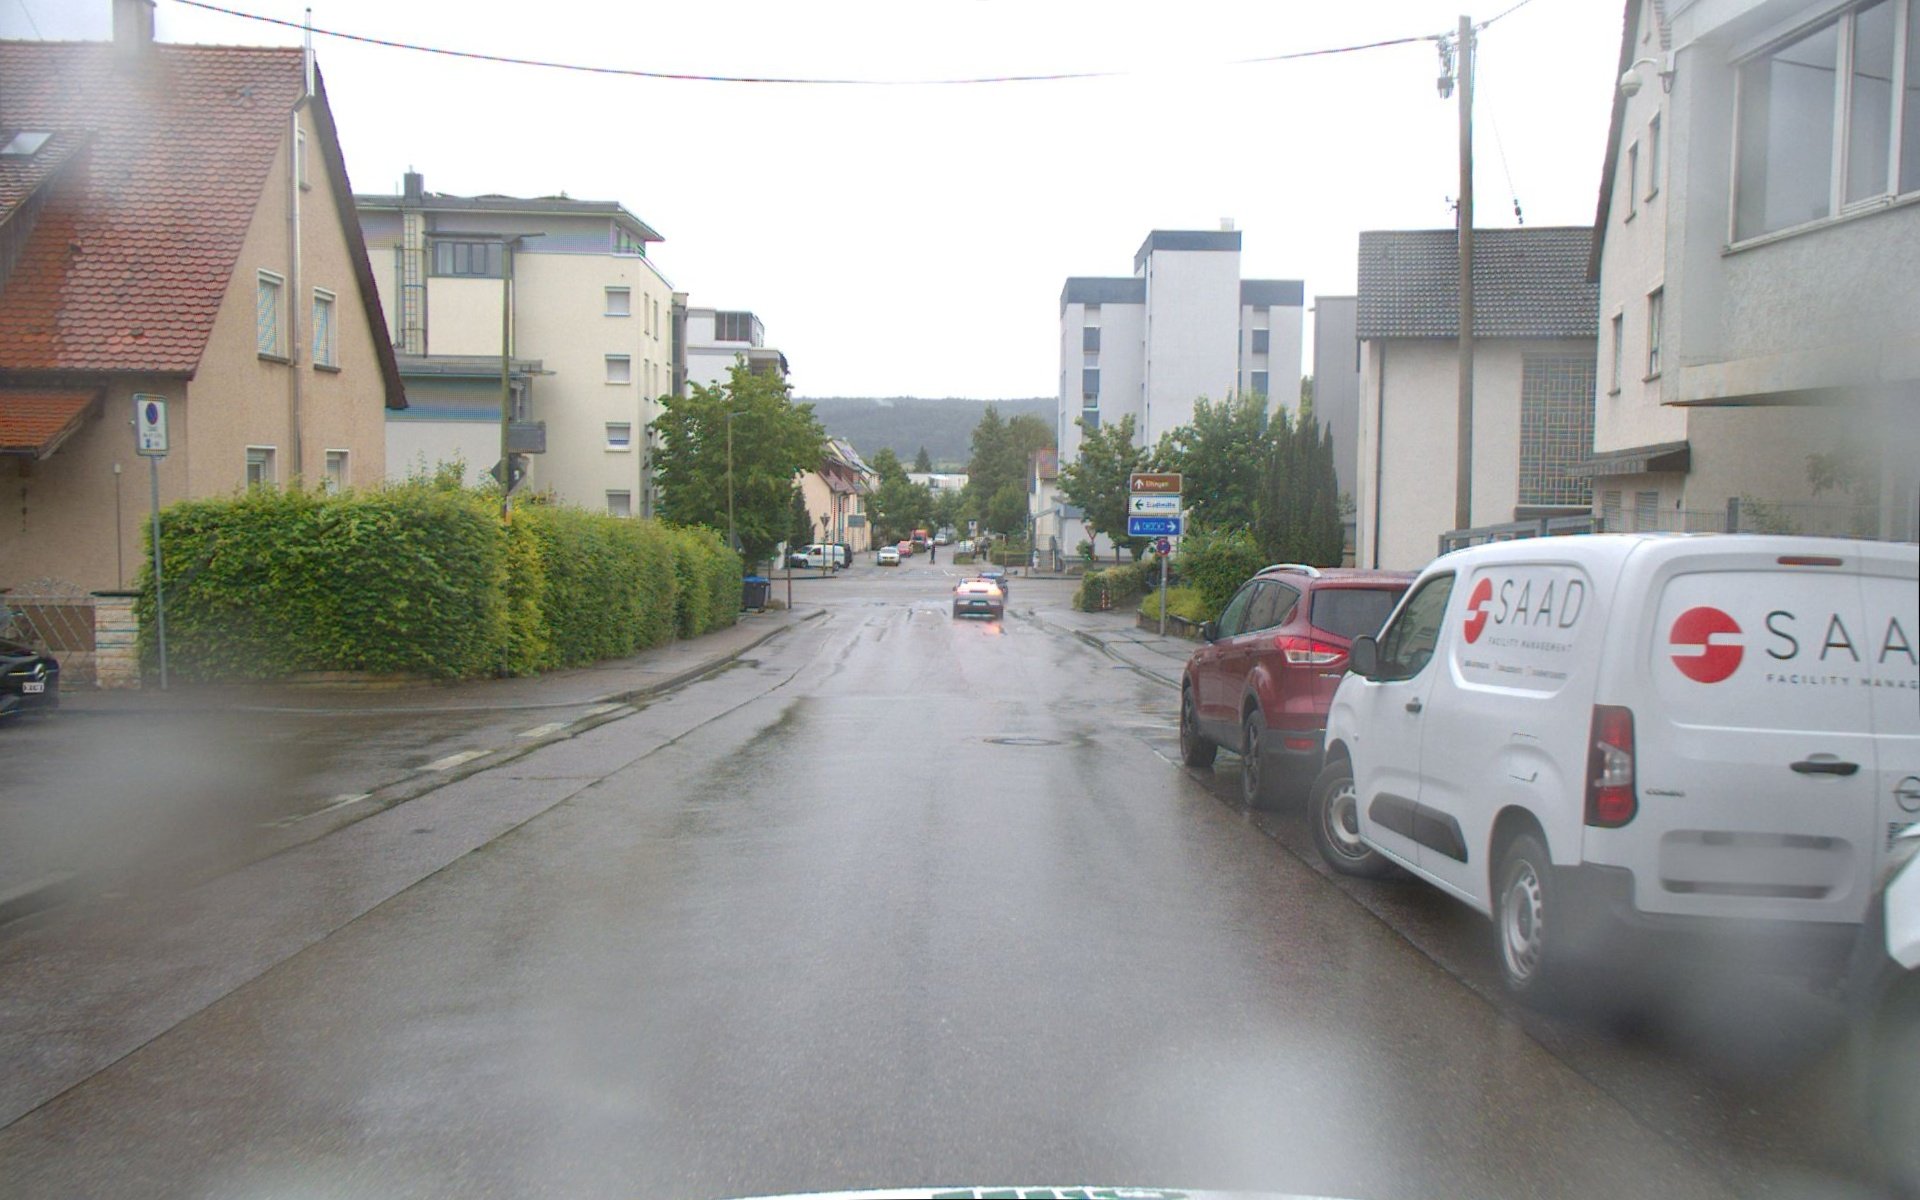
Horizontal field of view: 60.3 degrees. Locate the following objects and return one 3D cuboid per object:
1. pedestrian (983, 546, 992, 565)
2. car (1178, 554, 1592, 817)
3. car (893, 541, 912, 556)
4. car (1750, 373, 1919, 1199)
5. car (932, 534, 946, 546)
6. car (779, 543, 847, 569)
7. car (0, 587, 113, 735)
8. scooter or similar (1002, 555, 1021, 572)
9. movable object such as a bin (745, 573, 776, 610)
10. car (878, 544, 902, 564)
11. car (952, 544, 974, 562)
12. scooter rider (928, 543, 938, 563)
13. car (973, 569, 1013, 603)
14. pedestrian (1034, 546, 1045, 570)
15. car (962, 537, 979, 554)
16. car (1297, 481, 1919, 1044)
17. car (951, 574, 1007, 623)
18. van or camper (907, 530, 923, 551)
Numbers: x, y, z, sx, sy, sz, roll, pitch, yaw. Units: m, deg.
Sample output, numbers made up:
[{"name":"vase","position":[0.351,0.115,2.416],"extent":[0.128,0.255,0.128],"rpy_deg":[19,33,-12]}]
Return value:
[{"name":"pedestrian","position":[2.784,-4.437,165.440],"extent":[0.730,1.881,0.526],"rpy_deg":[-2,0,15]},{"name":"car","position":[3.041,0.509,13.042],"extent":[1.953,1.673,4.958],"rpy_deg":[0,1,-1]},{"name":"car","position":[-6.248,-5.623,180.611],"extent":[1.862,1.585,4.192],"rpy_deg":[-1,2,0]},{"name":"car","position":[3.217,0.487,2.162],"extent":[1.953,1.968,4.975],"rpy_deg":[0,1,-1]},{"name":"car","position":[-2.949,-8.416,230.867],"extent":[1.862,1.585,4.192],"rpy_deg":[-1,2,0]},{"name":"car","position":[-10.966,-3.307,123.604],"extent":[4.798,1.867,1.972],"rpy_deg":[-3,3,-39]},{"name":"car","position":[-11.494,0.604,17.079],"extent":[4.488,1.423,1.894],"rpy_deg":[0,1,-1]},{"name":"scooter or similar","position":[3.574,-2.544,115.019],"extent":[1.243,1.100,0.876],"rpy_deg":[-1,2,-5]},{"name":"movable object such as a bin","position":[-7.710,-0.323,63.866],"extent":[1.050,1.371,1.318],"rpy_deg":[2,1,-3]},{"name":"car","position":[-6.095,-4.001,144.173],"extent":[1.953,1.654,4.192],"rpy_deg":[-1,2,0]},{"name":"car","position":[0.277,-4.512,157.926],"extent":[2.102,1.616,4.129],"rpy_deg":[-1,2,0]},{"name":"scooter rider","position":[-2.505,-4.406,154.608],"extent":[0.740,1.827,0.670],"rpy_deg":[-1,2,-17]},{"name":"car","position":[1.804,-0.773,90.886],"extent":[1.954,1.713,3.999],"rpy_deg":[-1,2,-3]},{"name":"pedestrian","position":[5.608,-2.944,116.480],"extent":[0.635,1.675,0.525],"rpy_deg":[3,1,-7]},{"name":"car","position":[1.128,-5.921,180.049],"extent":[1.862,1.775,4.192],"rpy_deg":[-1,2,0]},{"name":"car","position":[2.974,0.509,7.742],"extent":[1.840,1.865,4.488],"rpy_deg":[0,1,-1]},{"name":"car","position":[0.707,-0.082,64.734],"extent":[1.954,1.713,3.999],"rpy_deg":[-1,2,-3]},{"name":"van or camper","position":[-5.526,-7.305,202.756],"extent":[1.862,2.557,4.240],"rpy_deg":[-1,2,0]}]
